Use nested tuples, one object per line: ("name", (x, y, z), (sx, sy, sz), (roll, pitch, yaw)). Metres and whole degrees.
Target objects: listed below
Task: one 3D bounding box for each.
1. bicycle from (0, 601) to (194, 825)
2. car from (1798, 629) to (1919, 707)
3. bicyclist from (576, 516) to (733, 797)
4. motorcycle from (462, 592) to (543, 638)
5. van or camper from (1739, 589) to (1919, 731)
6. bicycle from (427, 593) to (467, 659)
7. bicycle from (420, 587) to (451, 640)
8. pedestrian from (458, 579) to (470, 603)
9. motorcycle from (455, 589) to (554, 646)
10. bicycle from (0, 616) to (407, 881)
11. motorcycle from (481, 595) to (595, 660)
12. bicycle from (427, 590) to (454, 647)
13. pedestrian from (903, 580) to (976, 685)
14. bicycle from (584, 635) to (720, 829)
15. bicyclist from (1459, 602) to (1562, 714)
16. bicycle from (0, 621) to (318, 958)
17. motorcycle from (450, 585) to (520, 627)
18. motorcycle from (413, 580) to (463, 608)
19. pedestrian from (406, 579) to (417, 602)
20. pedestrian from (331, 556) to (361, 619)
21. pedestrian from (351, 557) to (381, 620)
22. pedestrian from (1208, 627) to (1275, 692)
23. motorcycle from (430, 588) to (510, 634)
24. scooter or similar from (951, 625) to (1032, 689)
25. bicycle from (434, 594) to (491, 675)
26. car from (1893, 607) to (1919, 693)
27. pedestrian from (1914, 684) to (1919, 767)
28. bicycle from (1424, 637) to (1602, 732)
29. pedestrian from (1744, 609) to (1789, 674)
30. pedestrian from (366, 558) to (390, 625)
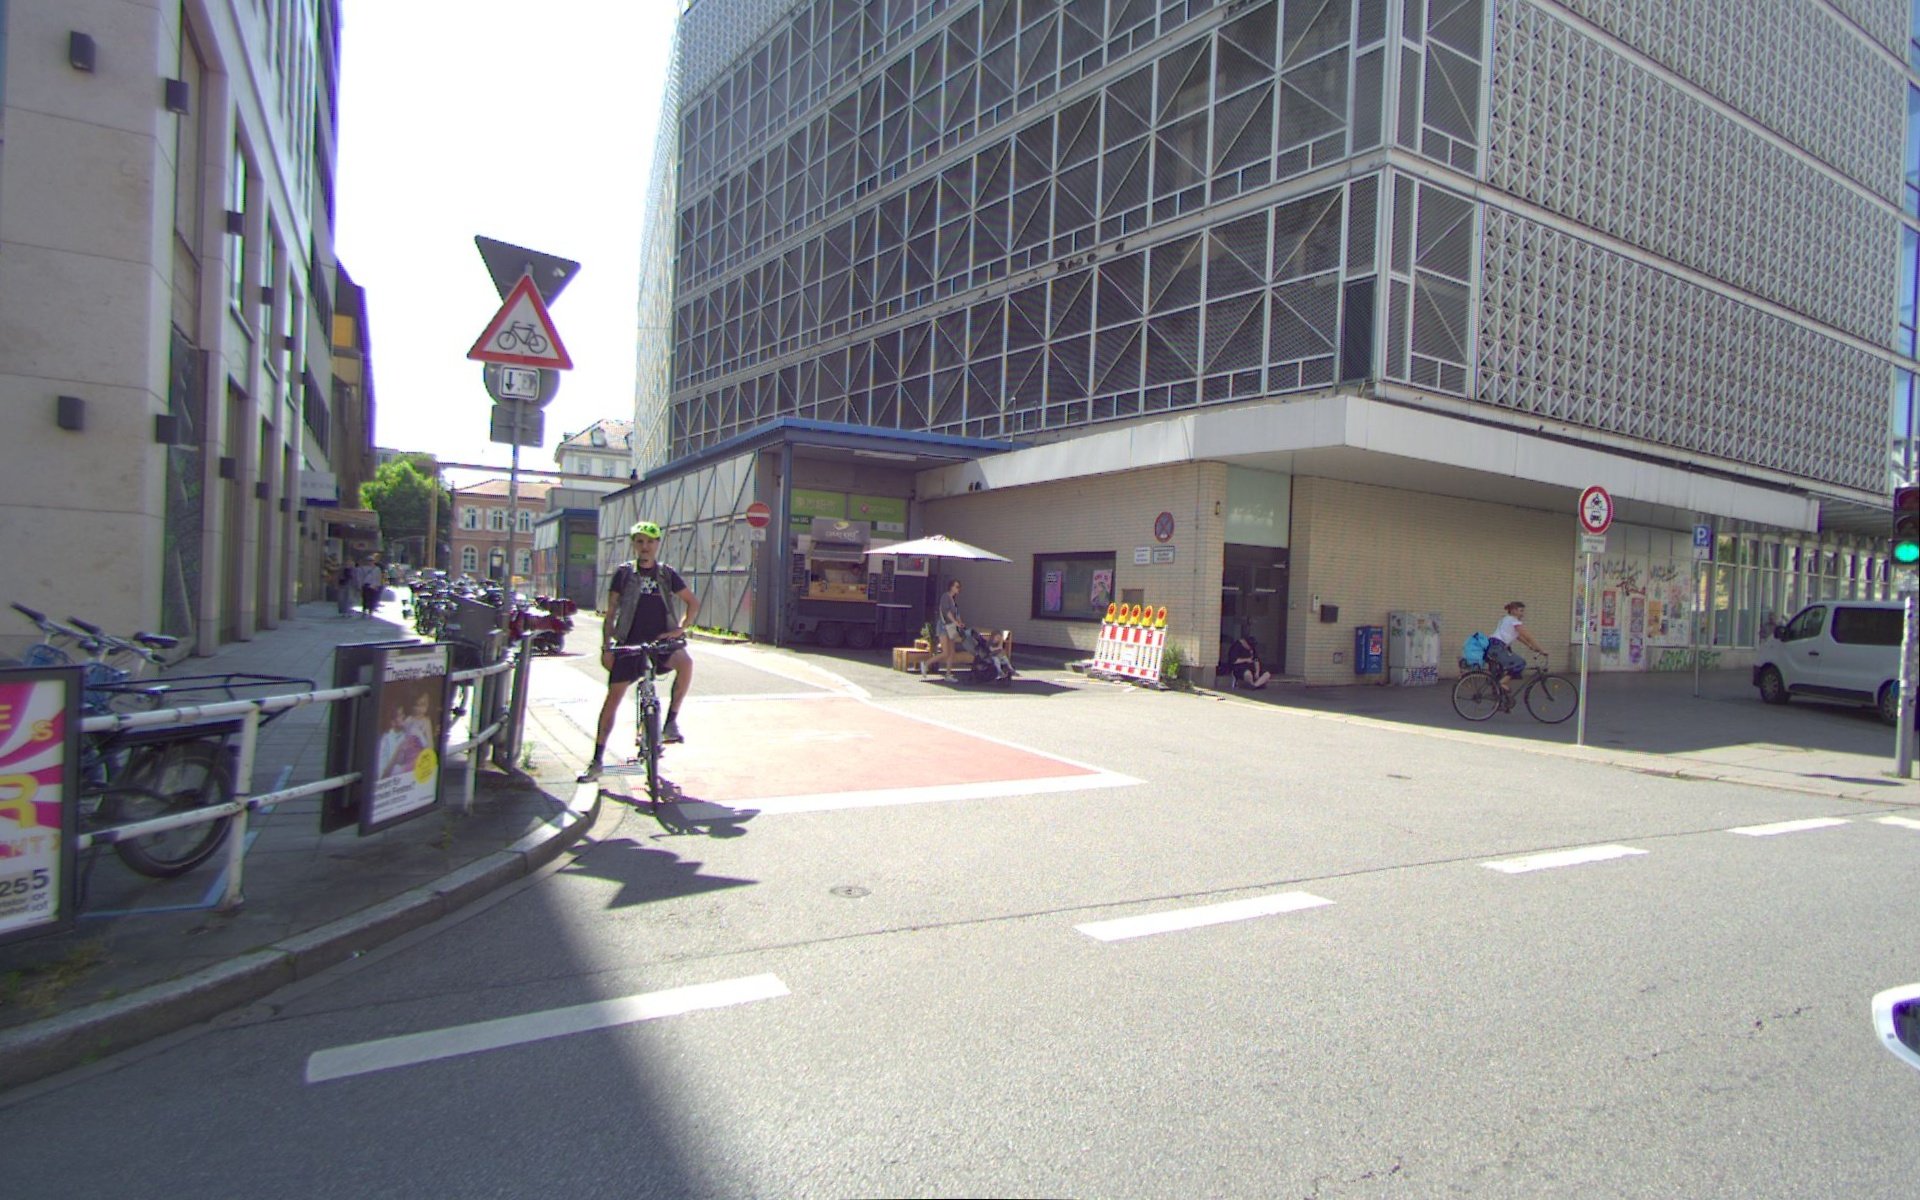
("bicycle", (-5.383, 0.600, 5.647), (0.634, 1.142, 2.063), (2, 1, -3))
("car", (19.002, 1.390, 19.479), (1.931, 1.304, 4.299), (3, 2, 2))
("bicyclist", (-2.347, 0.412, 7.674), (1.003, 1.986, 0.839), (2, 0, -24))
("motorcycle", (-11.536, 0.362, 25.398), (0.593, 1.081, 2.064), (3, 1, 19))
("van or camper", (15.544, 0.911, 16.784), (1.959, 2.041, 4.662), (3, 2, 10))
("bicycle", (-9.840, 0.474, 19.228), (0.450, 1.141, 2.047), (7, -2, -31))
("bicycle", (-12.318, 0.297, 23.571), (0.564, 1.124, 2.048), (1, 2, -29))
("pedestrian", (-39.868, -0.744, 80.745), (0.758, 1.900, 0.663), (2, -1, -29))
("motorcycle", (-9.999, 0.354, 22.123), (0.642, 1.189, 2.062), (1, 1, 25))
("bicycle", (-4.100, 0.695, 5.647), (0.593, 1.184, 2.066), (2, -1, 7))
("motorcycle", (-8.219, 0.506, 19.658), (0.646, 1.189, 2.058), (0, 0, 34))
("bicycle", (-11.218, 0.378, 21.655), (0.449, 1.142, 2.048), (1, 0, -29))
("pedestrian", (-0.351, 0.532, 17.017), (0.832, 1.681, 0.837), (4, 2, 42))
("bicycle", (-2.343, 0.880, 7.471), (0.787, 1.142, 1.982), (1, 0, -22))
("bicyclist", (7.971, 0.825, 14.579), (1.056, 1.560, 0.736), (1, 0, -2))
("bicycle", (-3.736, 0.712, 4.018), (0.593, 1.188, 2.065), (3, 1, 15))
("motorcycle", (-14.353, 0.183, 30.439), (0.693, 1.213, 2.065), (3, 1, 16))
("motorcycle", (-23.570, -0.269, 45.354), (0.696, 1.189, 1.861), (3, 2, 38))
("pedestrian", (-45.428, -0.780, 83.161), (0.758, 1.900, 0.663), (2, -1, -29))
("pedestrian", (-17.683, -0.348, 28.938), (0.660, 1.781, 0.762), (2, -1, -29))
("pedestrian", (-17.239, -0.329, 29.177), (0.660, 1.781, 0.762), (2, -1, -29))
("pedestrian", (5.077, 1.068, 18.130), (0.831, 1.071, 0.717), (2, 4, -31))
("motorcycle", (-13.501, 0.287, 27.748), (0.693, 1.189, 2.064), (3, 1, 19))
("scooter or similar", (0.526, 0.931, 16.729), (0.958, 0.977, 0.898), (3, 1, 40))
("bicycle", (-7.926, 0.515, 15.957), (0.632, 1.141, 2.048), (5, -2, -29))
("car", (22.472, 1.180, 21.083), (1.969, 1.935, 4.448), (2, 1, 7))
("pedestrian", (11.224, 1.101, 11.258), (0.675, 1.580, 0.633), (1, 2, -41))
("bicycle", (8.000, 1.215, 14.581), (2.168, 1.284, 0.736), (1, 0, -2))
("pedestrian", (20.017, 1.023, 24.929), (0.634, 1.580, 0.674), (2, 0, -34))
("pedestrian", (-20.467, -0.291, 35.330), (0.660, 2.322, 0.762), (2, -1, -29))
